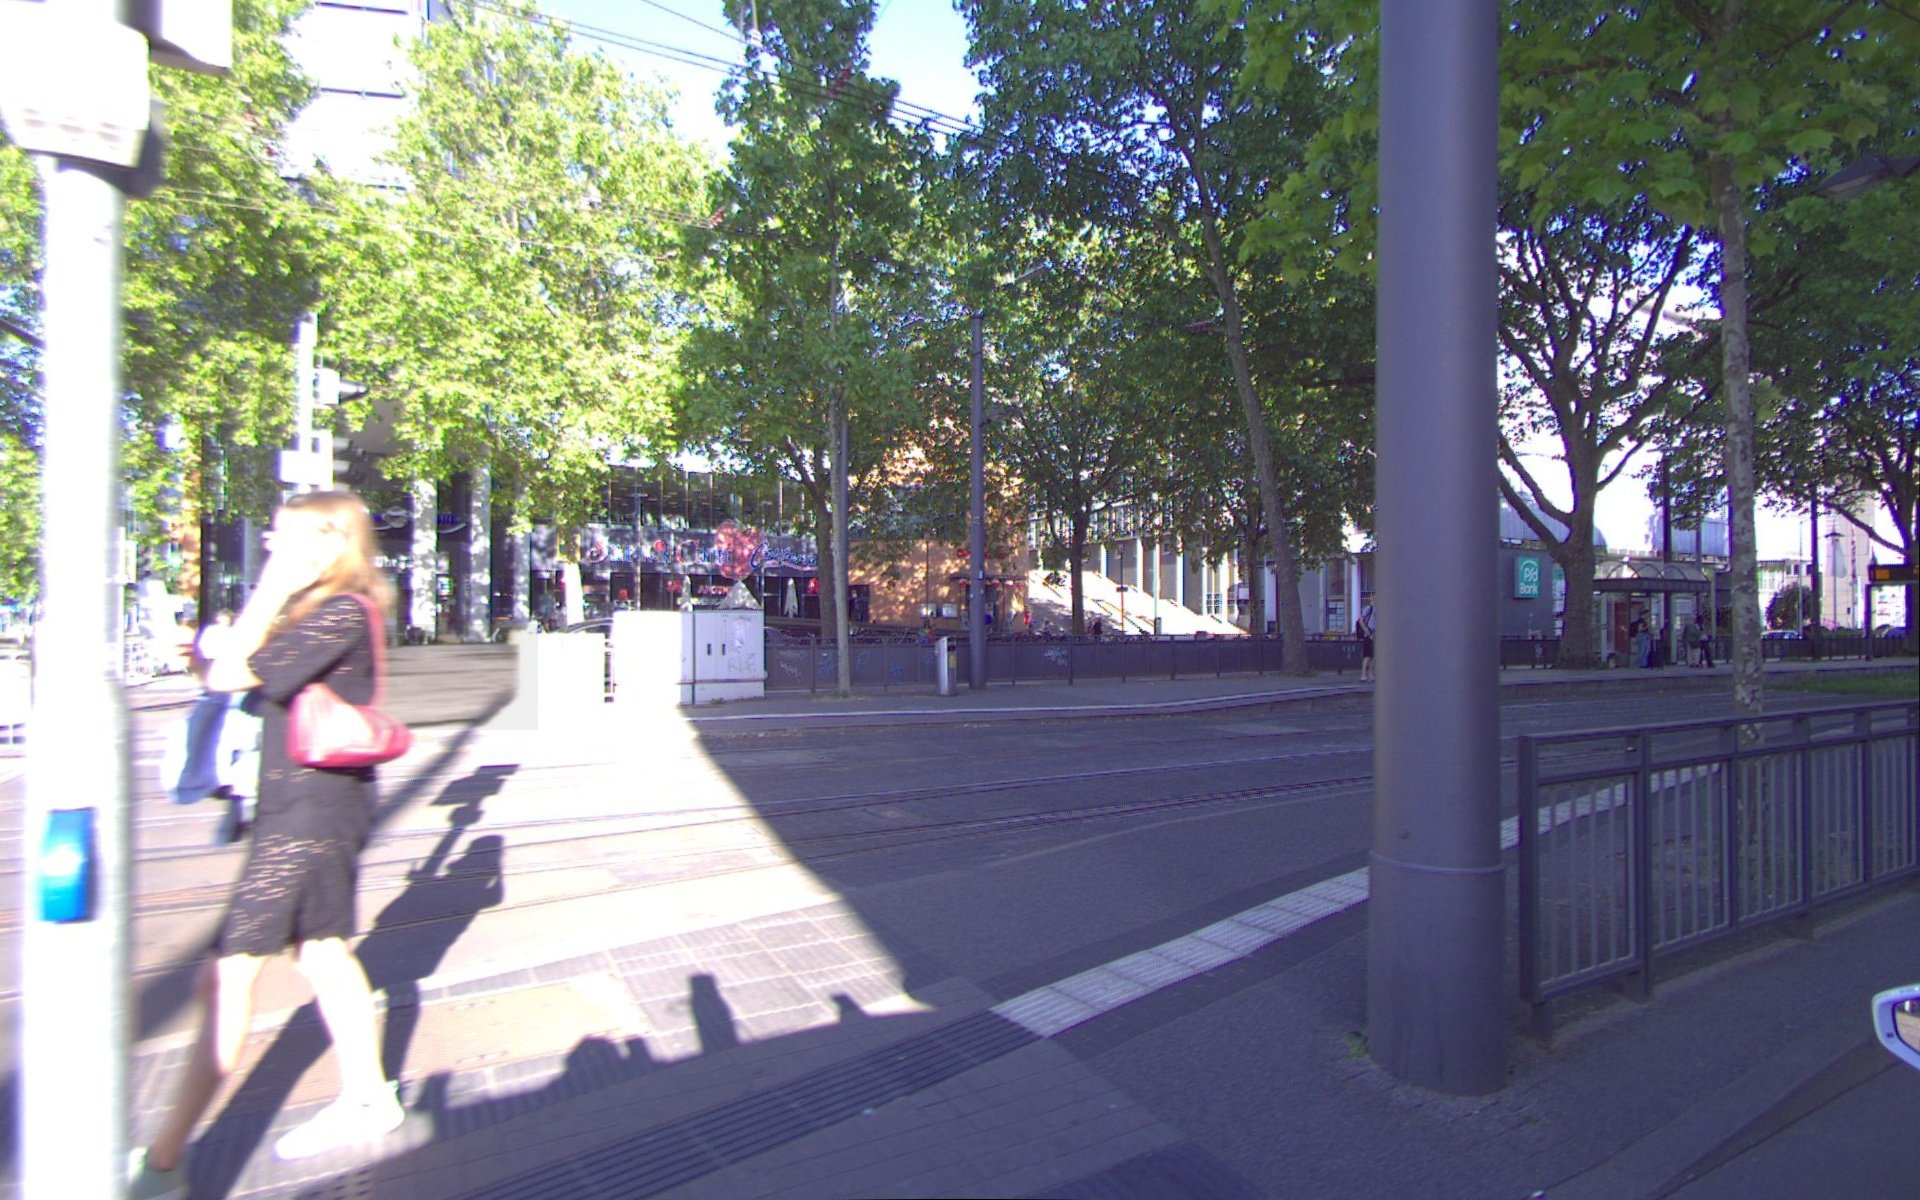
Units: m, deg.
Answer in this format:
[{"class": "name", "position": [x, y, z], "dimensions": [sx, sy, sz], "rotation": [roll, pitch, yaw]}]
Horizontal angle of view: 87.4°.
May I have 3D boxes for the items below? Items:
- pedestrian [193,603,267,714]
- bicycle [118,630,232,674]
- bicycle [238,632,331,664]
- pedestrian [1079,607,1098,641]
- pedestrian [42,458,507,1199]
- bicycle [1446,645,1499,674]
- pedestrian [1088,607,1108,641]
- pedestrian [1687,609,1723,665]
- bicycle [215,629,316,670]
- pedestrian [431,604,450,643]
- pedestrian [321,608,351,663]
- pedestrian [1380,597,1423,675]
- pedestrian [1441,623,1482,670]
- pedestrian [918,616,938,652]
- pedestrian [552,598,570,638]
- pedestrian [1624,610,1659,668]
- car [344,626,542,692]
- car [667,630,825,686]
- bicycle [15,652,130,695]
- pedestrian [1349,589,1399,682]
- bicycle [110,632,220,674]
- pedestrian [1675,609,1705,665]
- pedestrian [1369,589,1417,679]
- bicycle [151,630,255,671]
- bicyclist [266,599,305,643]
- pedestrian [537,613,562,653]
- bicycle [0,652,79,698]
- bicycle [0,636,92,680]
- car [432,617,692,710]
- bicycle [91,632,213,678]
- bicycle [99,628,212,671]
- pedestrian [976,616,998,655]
[{"class": "pedestrian", "position": [-11.474, 0.915, 15.816], "dimensions": [0.705, 1.702, 0.828], "rotation": [0, -3, -20]}, {"class": "bicycle", "position": [-21.073, 1.382, 27.023], "dimensions": [2.338, 1.143, 0.594], "rotation": [1, -2, -29]}, {"class": "bicycle", "position": [-24.518, 1.740, 36.511], "dimensions": [2.646, 1.118, 0.893], "rotation": [0, -2, -15]}, {"class": "pedestrian", "position": [6.532, 1.215, 50.969], "dimensions": [0.697, 1.674, 0.693], "rotation": [0, -1, -30]}, {"class": "pedestrian", "position": [-1.638, 0.573, 2.573], "dimensions": [0.819, 1.702, 0.713], "rotation": [0, -3, -22]}, {"class": "bicycle", "position": [13.272, 1.531, 26.006], "dimensions": [1.676, 0.698, 0.391], "rotation": [1, -1, -31]}, {"class": "pedestrian", "position": [6.895, 1.190, 50.314], "dimensions": [0.697, 1.674, 0.693], "rotation": [0, -1, -30]}, {"class": "pedestrian", "position": [21.741, 1.065, 29.320], "dimensions": [0.629, 1.594, 0.563], "rotation": [-1, 0, -18]}, {"class": "bicycle", "position": [-20.121, 1.426, 29.171], "dimensions": [2.338, 1.143, 0.594], "rotation": [1, -2, -29]}, {"class": "pedestrian", "position": [-22.541, 1.016, 43.610], "dimensions": [0.689, 1.674, 0.702], "rotation": [0, -1, -23]}, {"class": "pedestrian", "position": [-19.584, 1.117, 31.538], "dimensions": [0.707, 1.702, 0.826], "rotation": [1, -3, -27]}, {"class": "pedestrian", "position": [10.450, 0.844, 23.782], "dimensions": [0.732, 1.824, 0.591], "rotation": [0, -1, -15]}, {"class": "pedestrian", "position": [13.057, 1.203, 26.157], "dimensions": [0.732, 1.179, 0.591], "rotation": [0, -1, -15]}, {"class": "pedestrian", "position": [-1.511, 1.619, 47.457], "dimensions": [0.697, 1.674, 0.693], "rotation": [0, -1, -30]}, {"class": "pedestrian", "position": [-18.197, 0.808, 45.799], "dimensions": [0.694, 1.791, 0.696], "rotation": [0, -1, -17]}, {"class": "pedestrian", "position": [19.017, 1.075, 28.037], "dimensions": [0.658, 1.594, 0.486], "rotation": [-2, 0, 13]}, {"class": "car", "position": [-11.989, 1.345, 23.463], "dimensions": [3.951, 1.425, 1.659], "rotation": [1, -2, -29]}, {"class": "car", "position": [-5.878, 1.568, 27.641], "dimensions": [3.951, 1.425, 1.659], "rotation": [1, -2, -29]}, {"class": "bicycle", "position": [-25.078, 2.075, 28.438], "dimensions": [2.337, 1.143, 0.595], "rotation": [1, -2, -28]}, {"class": "pedestrian", "position": [8.442, 0.709, 20.477], "dimensions": [0.737, 1.853, 0.630], "rotation": [0, -1, -35]}, {"class": "bicycle", "position": [-22.364, 1.491, 28.313], "dimensions": [2.338, 1.143, 0.594], "rotation": [1, -2, -29]}, {"class": "pedestrian", "position": [21.180, 1.067, 29.142], "dimensions": [0.487, 1.594, 0.499], "rotation": [-1, 0, -26]}, {"class": "pedestrian", "position": [9.012, 0.705, 20.927], "dimensions": [0.730, 1.853, 0.593], "rotation": [0, -1, 1]}, {"class": "bicycle", "position": [-22.010, 1.455, 29.277], "dimensions": [2.338, 1.143, 0.594], "rotation": [1, -2, -29]}, {"class": "bicyclist", "position": [-24.532, 0.757, 36.546], "dimensions": [0.923, 1.569, 0.893], "rotation": [0, -2, -15]}, {"class": "pedestrian", "position": [-17.352, 1.404, 42.428], "dimensions": [0.693, 1.674, 0.698], "rotation": [-1, -1, 26]}, {"class": "bicycle", "position": [-24.065, 1.911, 25.593], "dimensions": [2.337, 1.143, 0.595], "rotation": [1, -2, -28]}, {"class": "bicycle", "position": [-24.826, 1.551, 26.867], "dimensions": [2.337, 1.143, 0.595], "rotation": [1, -2, -28]}, {"class": "car", "position": [-6.793, 1.041, 17.242], "dimensions": [3.953, 1.433, 1.658], "rotation": [1, -2, -31]}, {"class": "bicycle", "position": [-20.654, 1.386, 25.743], "dimensions": [2.338, 1.143, 0.594], "rotation": [1, -2, -29]}, {"class": "bicycle", "position": [-22.117, 1.355, 27.674], "dimensions": [2.338, 1.143, 0.594], "rotation": [1, -2, -29]}, {"class": "pedestrian", "position": [1.161, 1.505, 42.909], "dimensions": [0.697, 1.674, 0.693], "rotation": [0, -1, -30]}]
